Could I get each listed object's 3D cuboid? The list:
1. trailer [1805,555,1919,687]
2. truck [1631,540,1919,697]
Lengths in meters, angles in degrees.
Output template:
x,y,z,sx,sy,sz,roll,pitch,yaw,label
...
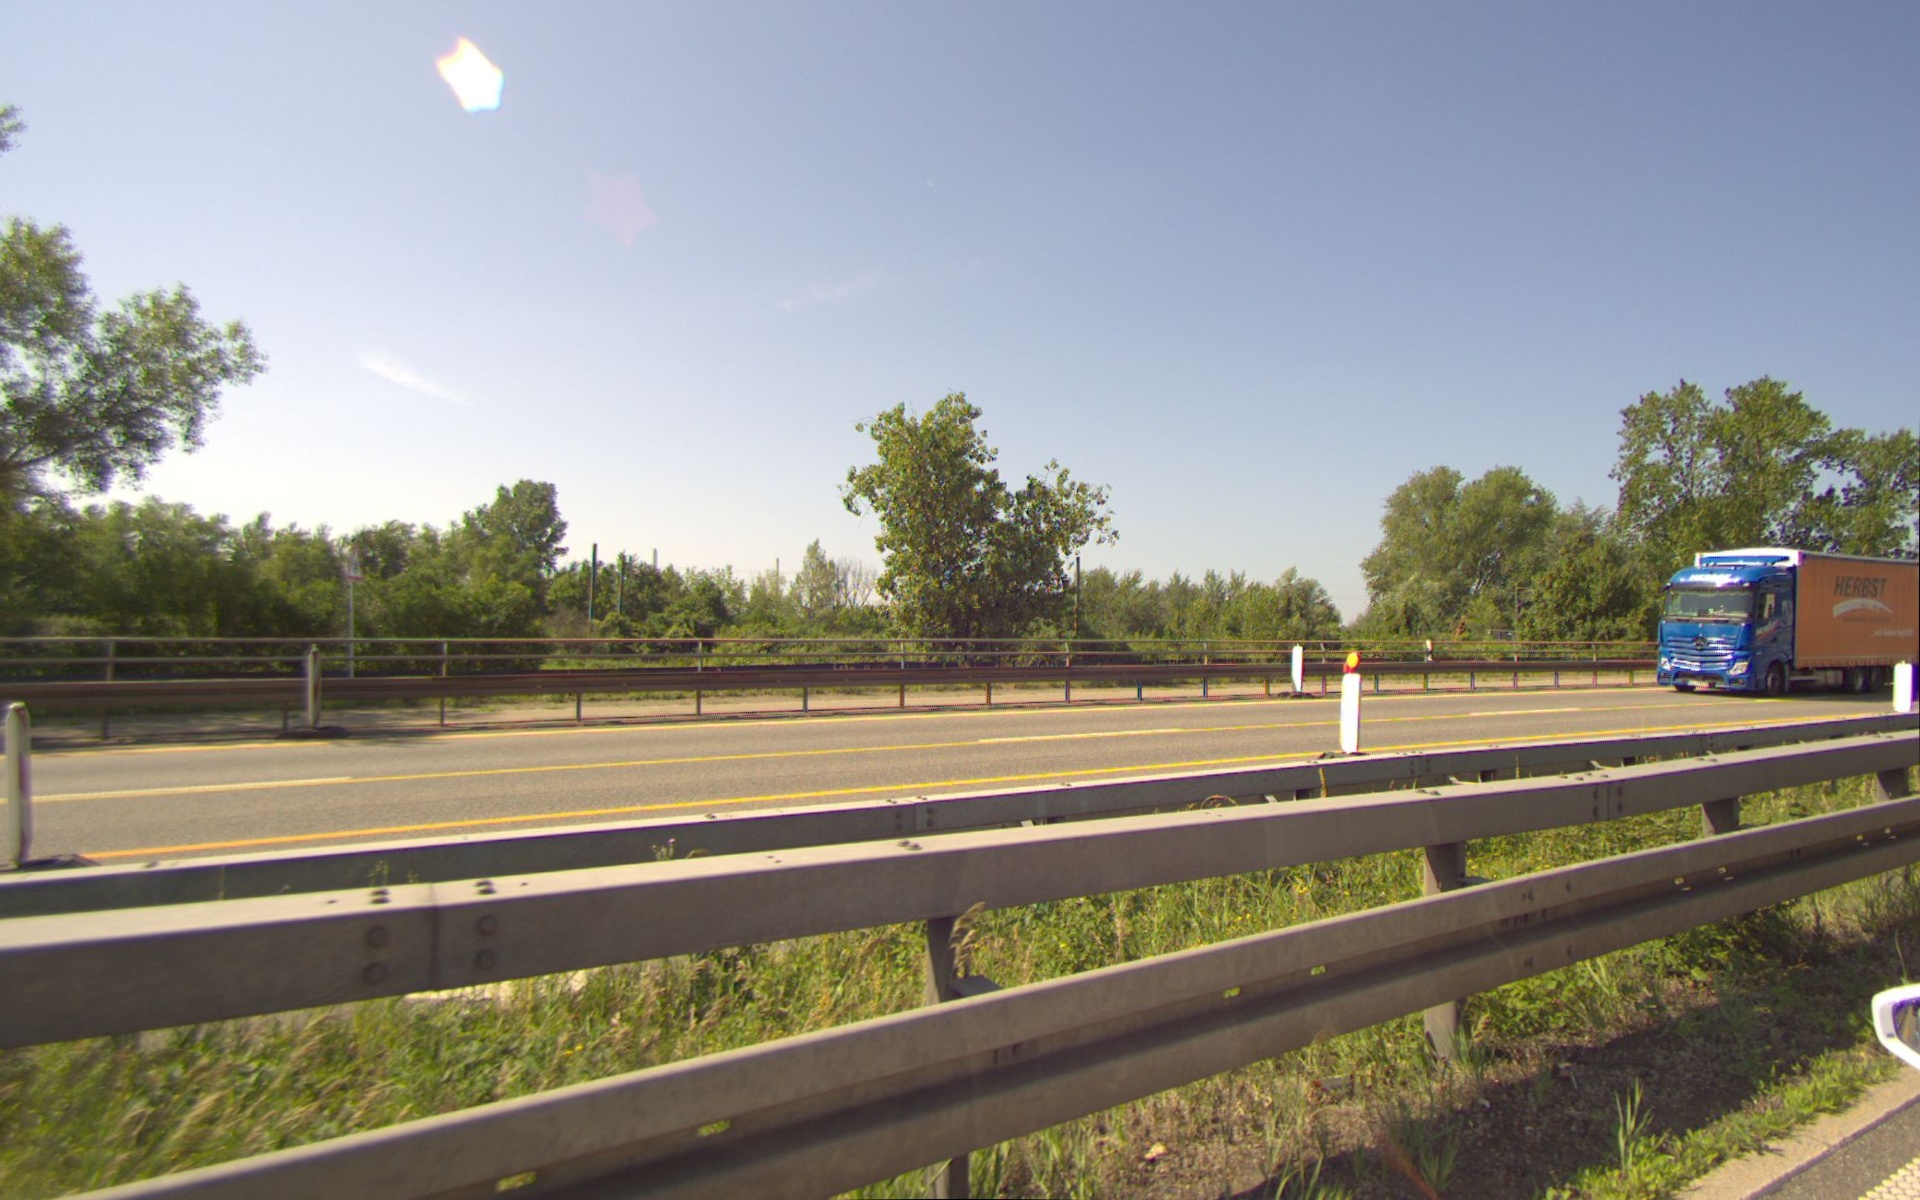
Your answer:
x,y,z,sx,sy,sz,roll,pitch,yaw,label
33.653,0.726,34.961,9.664,4.146,3.026,1,0,-28,trailer
24.813,0.552,30.236,10.489,4.146,3.026,1,0,-28,truck
